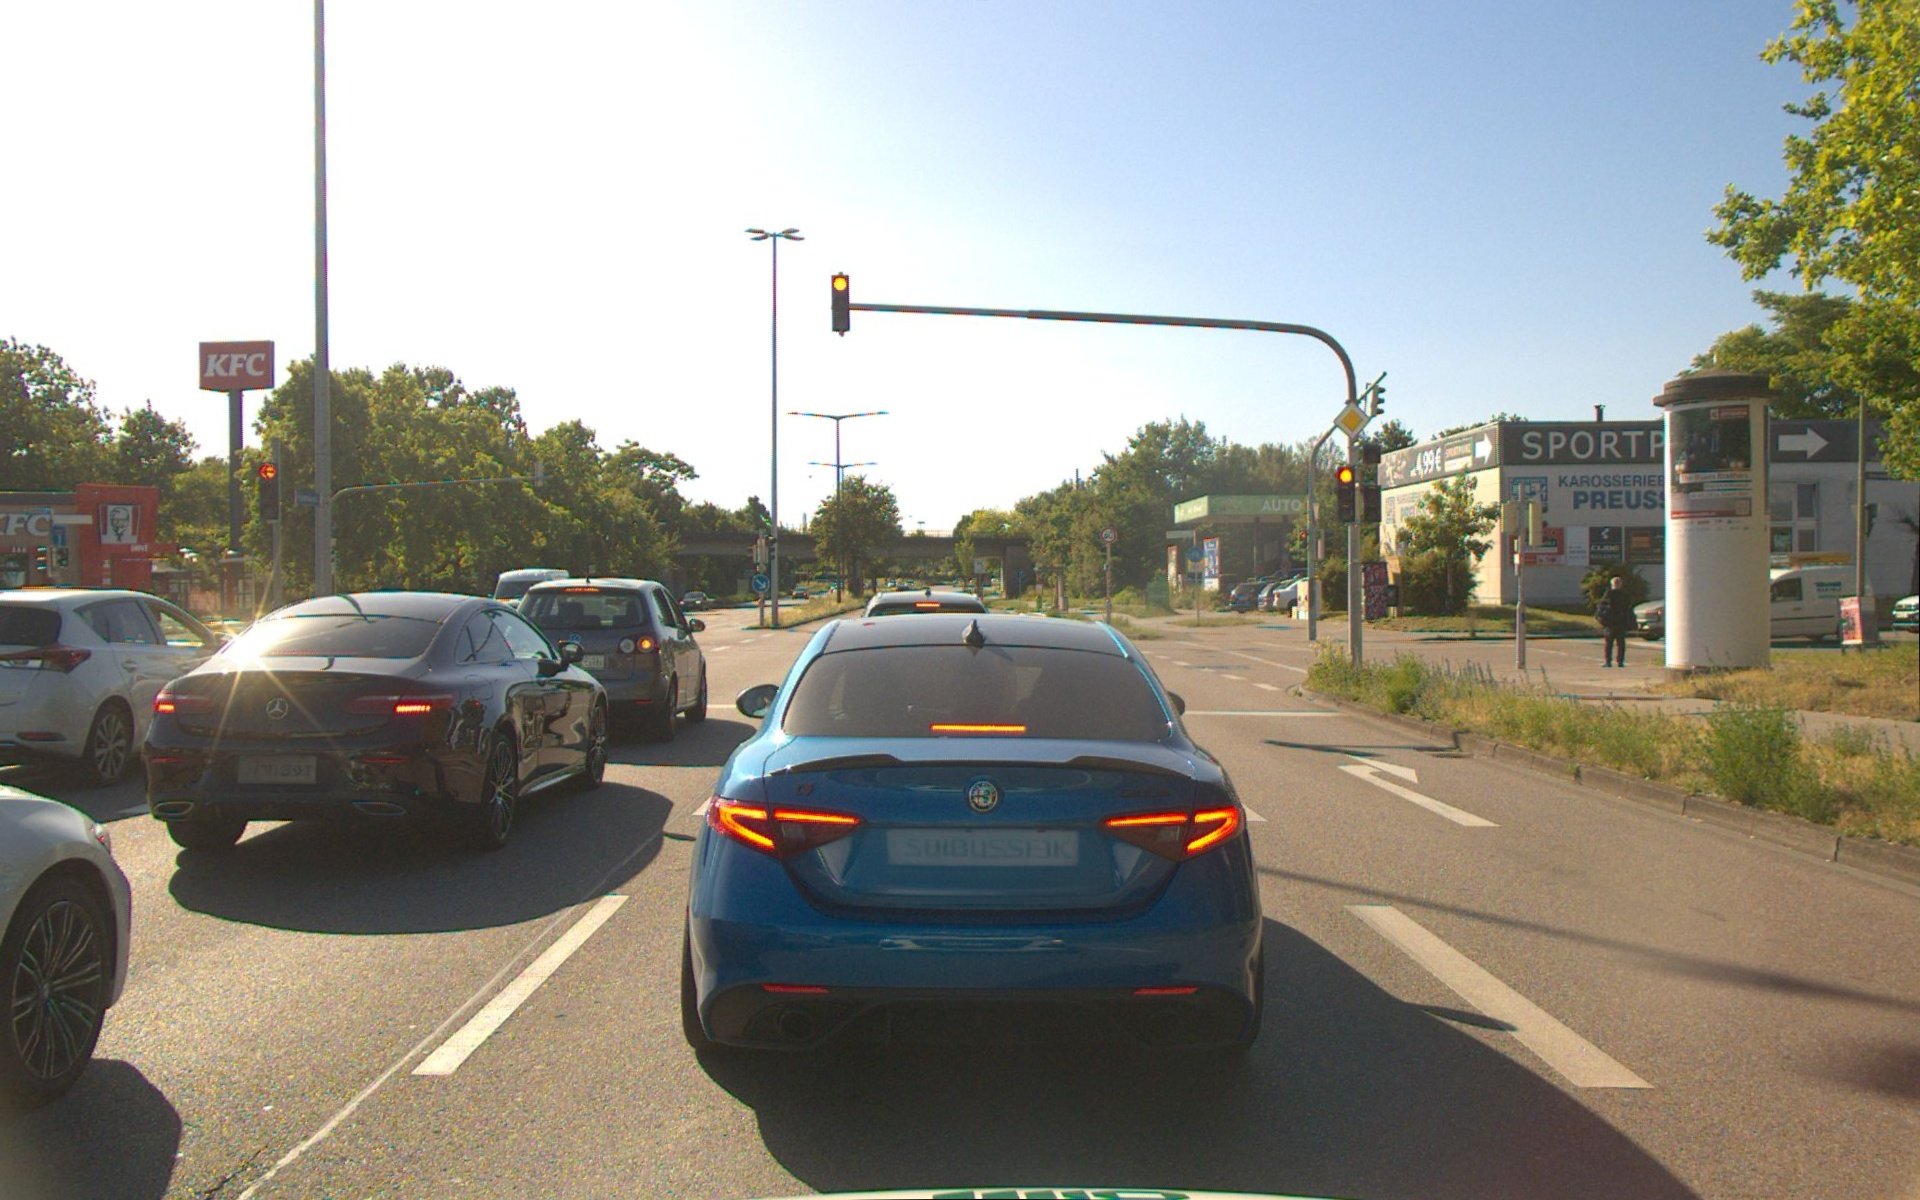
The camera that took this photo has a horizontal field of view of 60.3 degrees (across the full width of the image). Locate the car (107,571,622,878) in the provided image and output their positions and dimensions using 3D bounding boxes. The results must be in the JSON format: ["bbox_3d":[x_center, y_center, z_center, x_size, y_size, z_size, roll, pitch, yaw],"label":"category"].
[{"bbox_3d":[-3.438,0.637,10.536,1.760,1.516,4.474,1,0,-2],"label":"car"}]

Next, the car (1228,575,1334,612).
[{"bbox_3d":[14.396,-0.294,74.360,4.397,1.479,1.858,-2,0,1],"label":"car"}]

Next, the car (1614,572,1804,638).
[{"bbox_3d":[19.594,0.107,43.362,4.201,1.576,1.764,-1,2,-2],"label":"car"}]

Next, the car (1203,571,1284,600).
[{"bbox_3d":[16.717,-0.856,97.568,4.457,1.516,1.765,-2,0,1],"label":"car"}]

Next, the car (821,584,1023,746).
[{"bbox_3d":[-0.413,0.603,17.206,1.813,1.443,4.401,1,0,-2],"label":"car"}]

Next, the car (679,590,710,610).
[{"bbox_3d":[-20.992,0.025,131.102,1.723,1.516,4.477,-2,0,-1],"label":"car"}]

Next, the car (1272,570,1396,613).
[{"bbox_3d":[14.605,-0.326,64.781,4.397,1.479,1.858,-2,0,1],"label":"car"}]

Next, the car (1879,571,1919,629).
[{"bbox_3d":[26.767,-0.062,43.737,3.960,1.516,1.782,-2,0,-3],"label":"car"}]

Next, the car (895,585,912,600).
[{"bbox_3d":[-6.887,-0.906,201.787,1.853,1.847,3.999,1,0,-1],"label":"car"}]

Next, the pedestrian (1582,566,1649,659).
[{"bbox_3d":[12.688,0.241,32.042,0.906,1.765,0.938,1,-1,-1],"label":"pedestrian"}]

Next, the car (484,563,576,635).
[{"bbox_3d":[-16.279,-0.041,62.959,1.981,2.489,5.820,-3,0,-1],"label":"car"}]

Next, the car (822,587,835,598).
[{"bbox_3d":[-19.724,-1.157,248.232,1.723,1.516,4.477,-2,0,-1],"label":"car"}]

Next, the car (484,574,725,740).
[{"bbox_3d":[-3.623,0.541,17.634,1.723,1.516,4.401,1,0,-2],"label":"car"}]

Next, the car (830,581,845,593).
[{"bbox_3d":[-16.007,-1.666,216.229,1.723,1.516,3.836,-2,0,-1],"label":"car"}]

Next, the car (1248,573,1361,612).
[{"bbox_3d":[14.625,-0.303,70.313,4.397,1.479,1.858,-2,0,1],"label":"car"}]

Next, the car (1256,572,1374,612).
[{"bbox_3d":[14.481,-0.326,67.558,4.397,1.479,1.858,-2,0,1],"label":"car"}]

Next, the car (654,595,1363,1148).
[{"bbox_3d":[0.069,0.733,6.578,1.857,1.443,4.401,1,0,-2],"label":"car"}]

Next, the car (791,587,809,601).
[{"bbox_3d":[-19.056,-0.725,196.844,1.723,1.516,4.477,-2,0,-1],"label":"car"}]

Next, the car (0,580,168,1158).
[{"bbox_3d":[-3.342,0.687,3.032,1.749,1.516,4.401,1,0,-2],"label":"car"}]

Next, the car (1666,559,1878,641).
[{"bbox_3d":[19.611,-0.025,40.026,4.293,1.833,1.764,-1,2,-2],"label":"car"}]

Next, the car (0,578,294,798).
[{"bbox_3d":[-7.115,0.609,13.528,1.723,1.516,4.195,1,0,-2],"label":"car"}]
